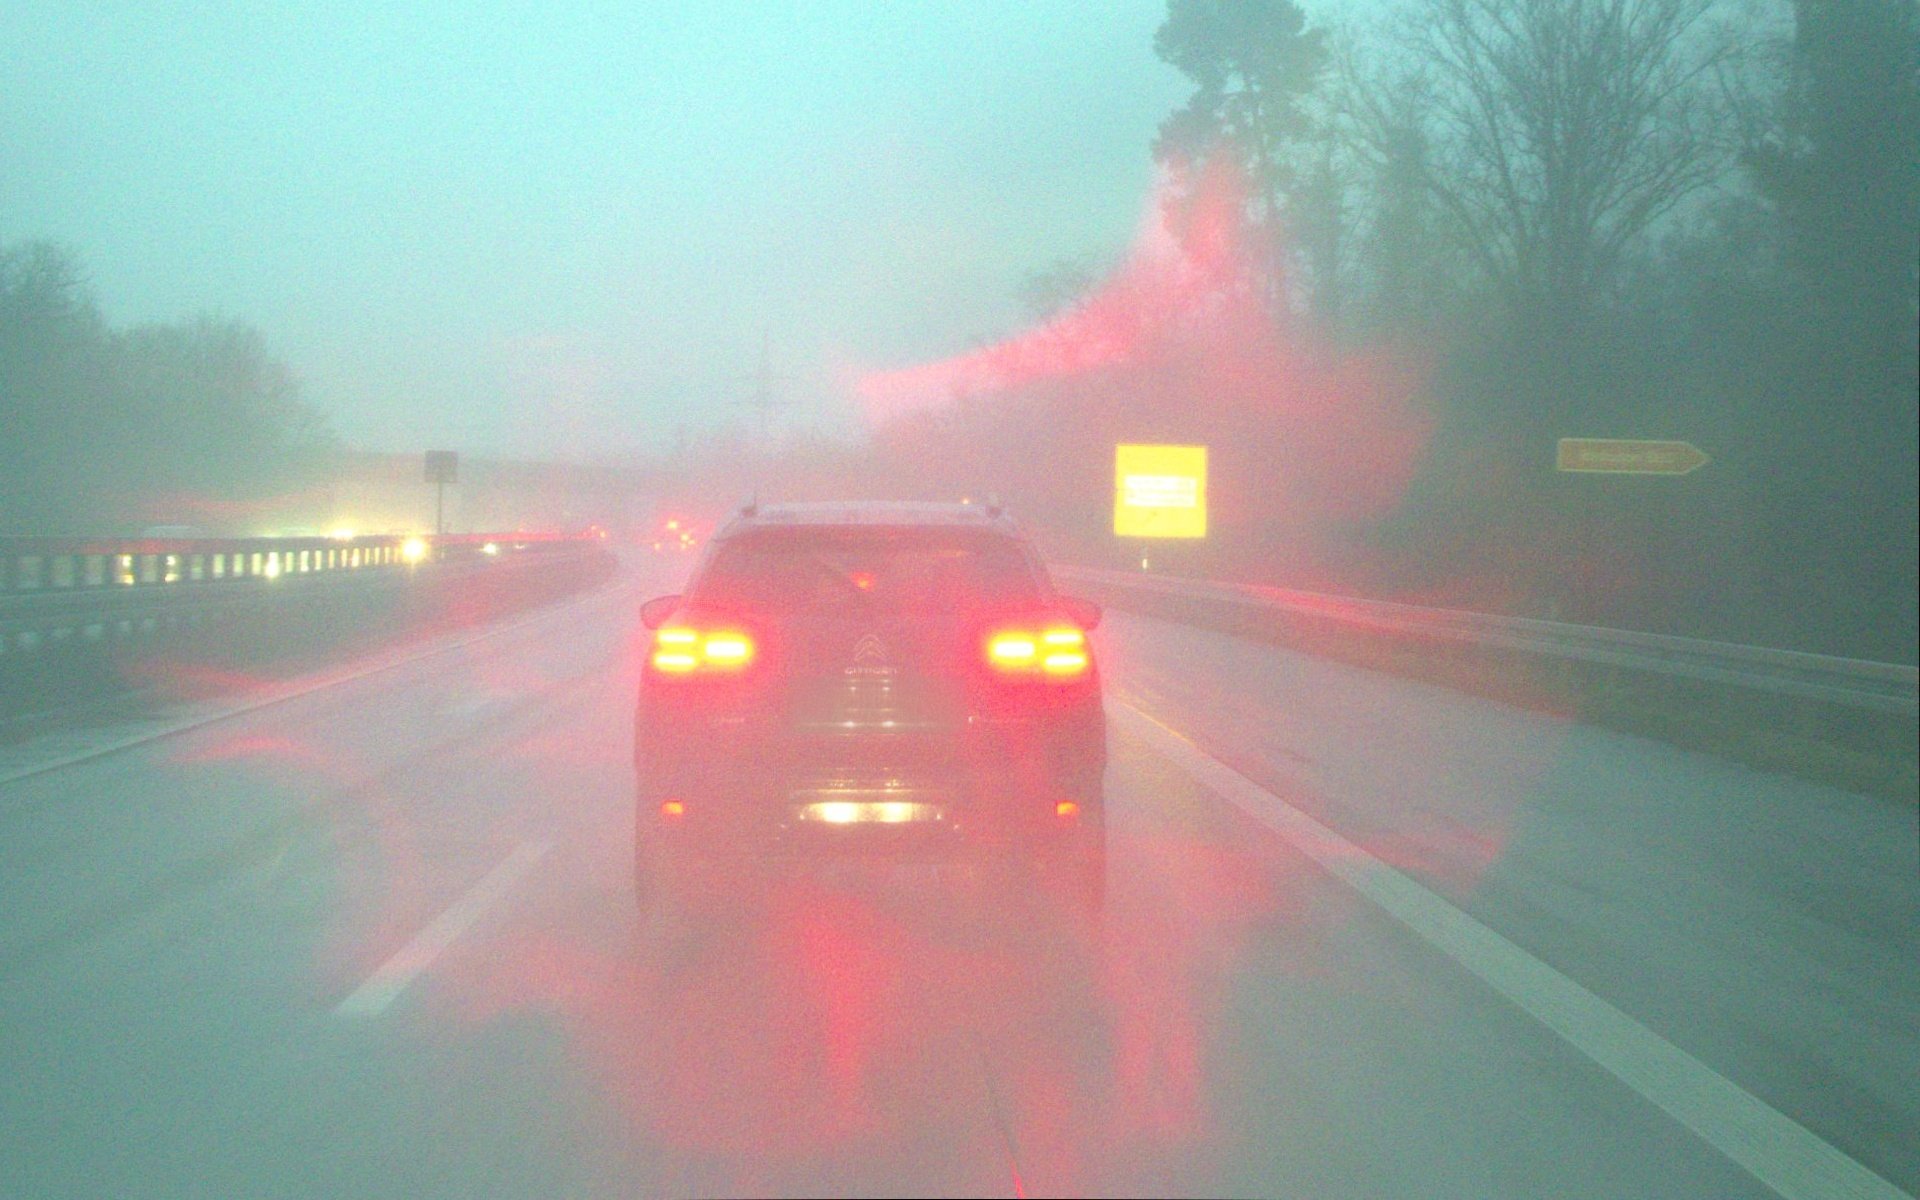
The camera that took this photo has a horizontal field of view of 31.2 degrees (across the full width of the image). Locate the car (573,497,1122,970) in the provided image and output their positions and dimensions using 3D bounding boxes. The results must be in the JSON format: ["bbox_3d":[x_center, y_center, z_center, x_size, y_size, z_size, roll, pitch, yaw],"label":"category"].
[{"bbox_3d":[-0.444,0.459,14.508,1.992,1.709,3.830,1,1,-1],"label":"car"}]

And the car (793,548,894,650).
[{"bbox_3d":[-2.418,-0.049,70.787,1.993,2.007,4.001,1,1,-3],"label":"car"}]
